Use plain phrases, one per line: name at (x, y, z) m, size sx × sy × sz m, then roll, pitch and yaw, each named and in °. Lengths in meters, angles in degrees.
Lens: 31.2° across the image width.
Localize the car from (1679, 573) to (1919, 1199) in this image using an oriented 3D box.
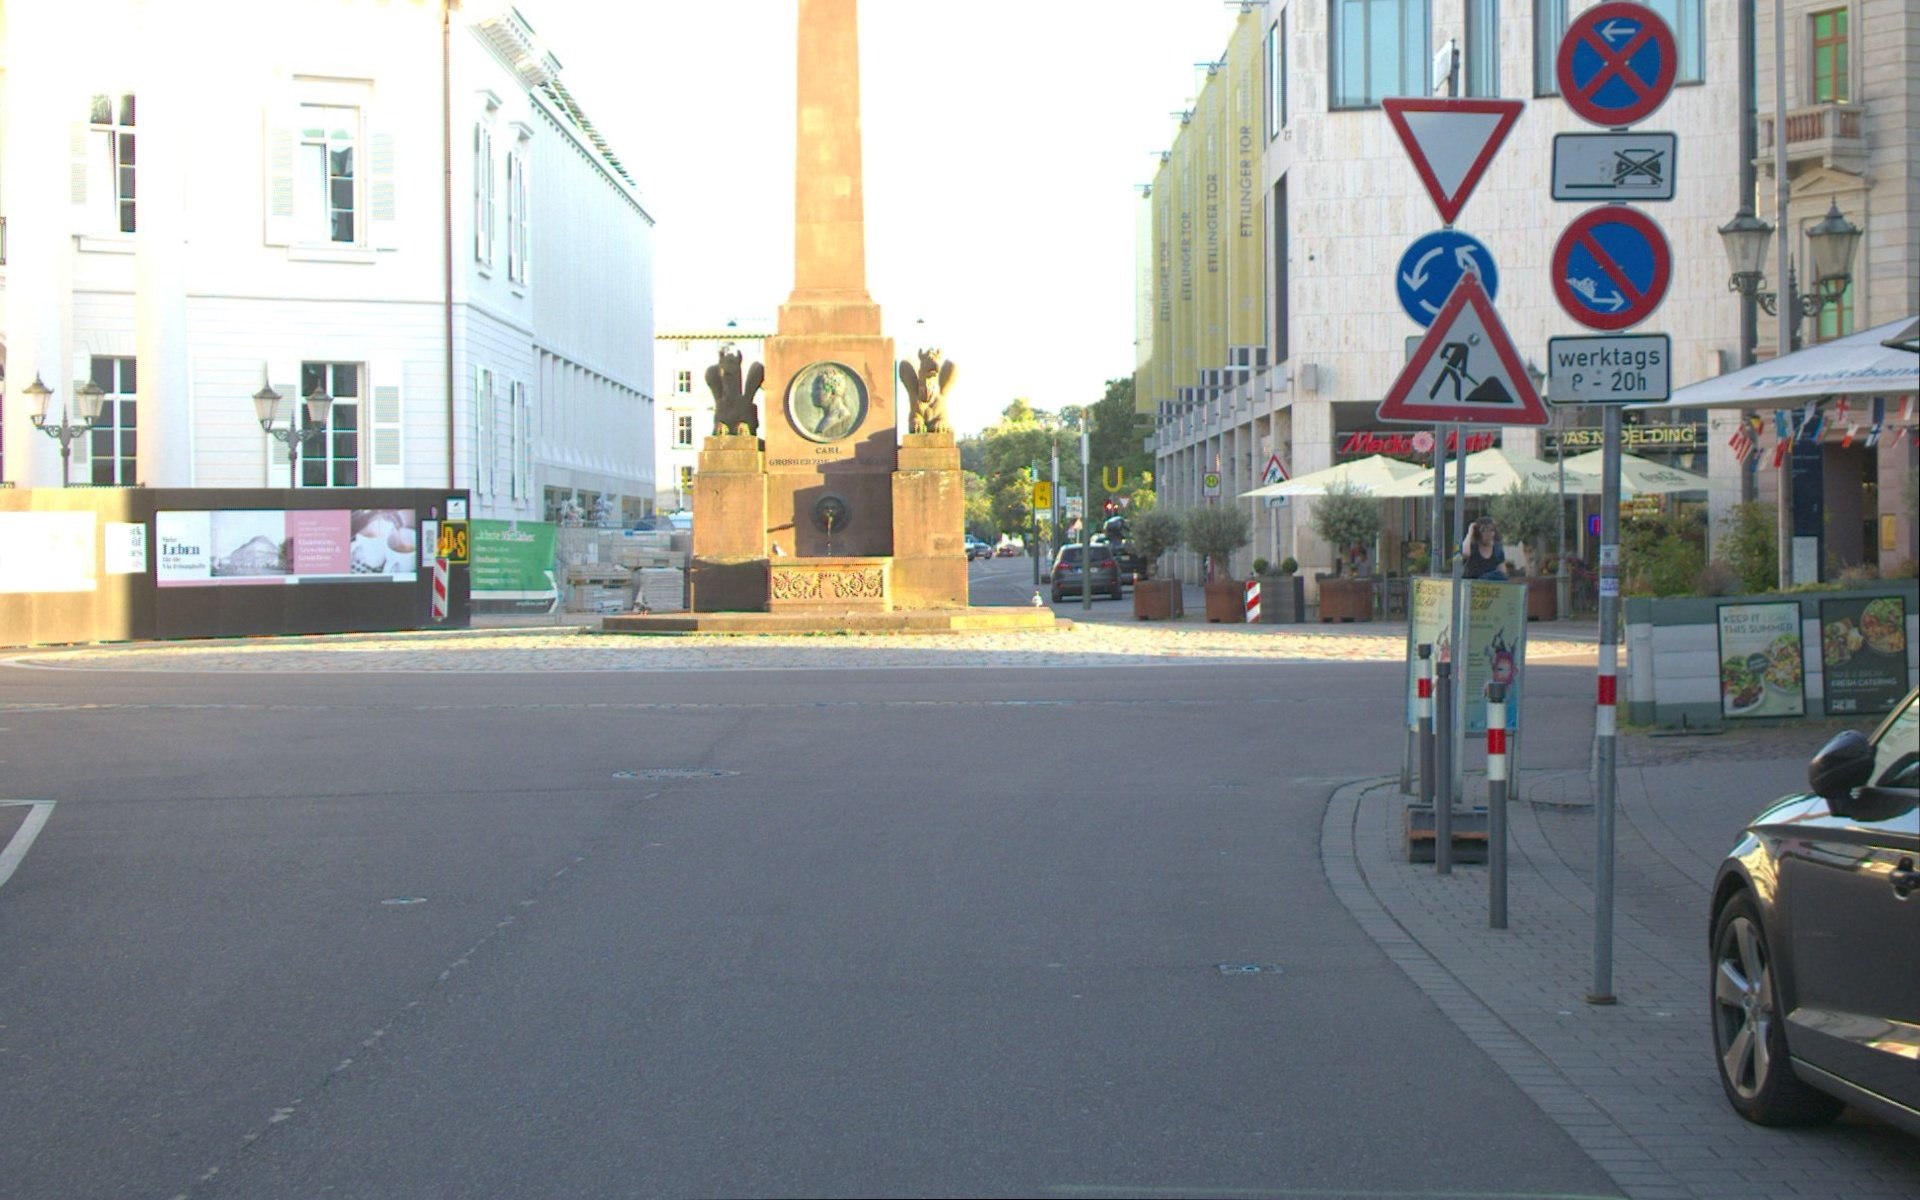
car at (2.965, 0.690, 7.365) m, size 1.801 × 1.459 × 4.118 m, roll -1°, pitch 1°, yaw -3°

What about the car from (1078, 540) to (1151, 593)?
car at (4.348, -0.958, 97.337) m, size 1.993 × 1.459 × 4.000 m, roll 0°, pitch 1°, yaw 2°

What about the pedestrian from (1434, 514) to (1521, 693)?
pedestrian at (4.823, 0.025, 32.045) m, size 0.690 × 1.642 × 0.696 m, roll -1°, pitch 1°, yaw 0°

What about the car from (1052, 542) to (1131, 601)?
car at (3.379, -0.756, 88.866) m, size 1.993 × 1.459 × 4.000 m, roll 0°, pitch 1°, yaw 2°

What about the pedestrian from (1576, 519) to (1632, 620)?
pedestrian at (11.159, -0.535, 59.601) m, size 0.905 × 1.722 × 0.849 m, roll 0°, pitch 1°, yaw 9°
